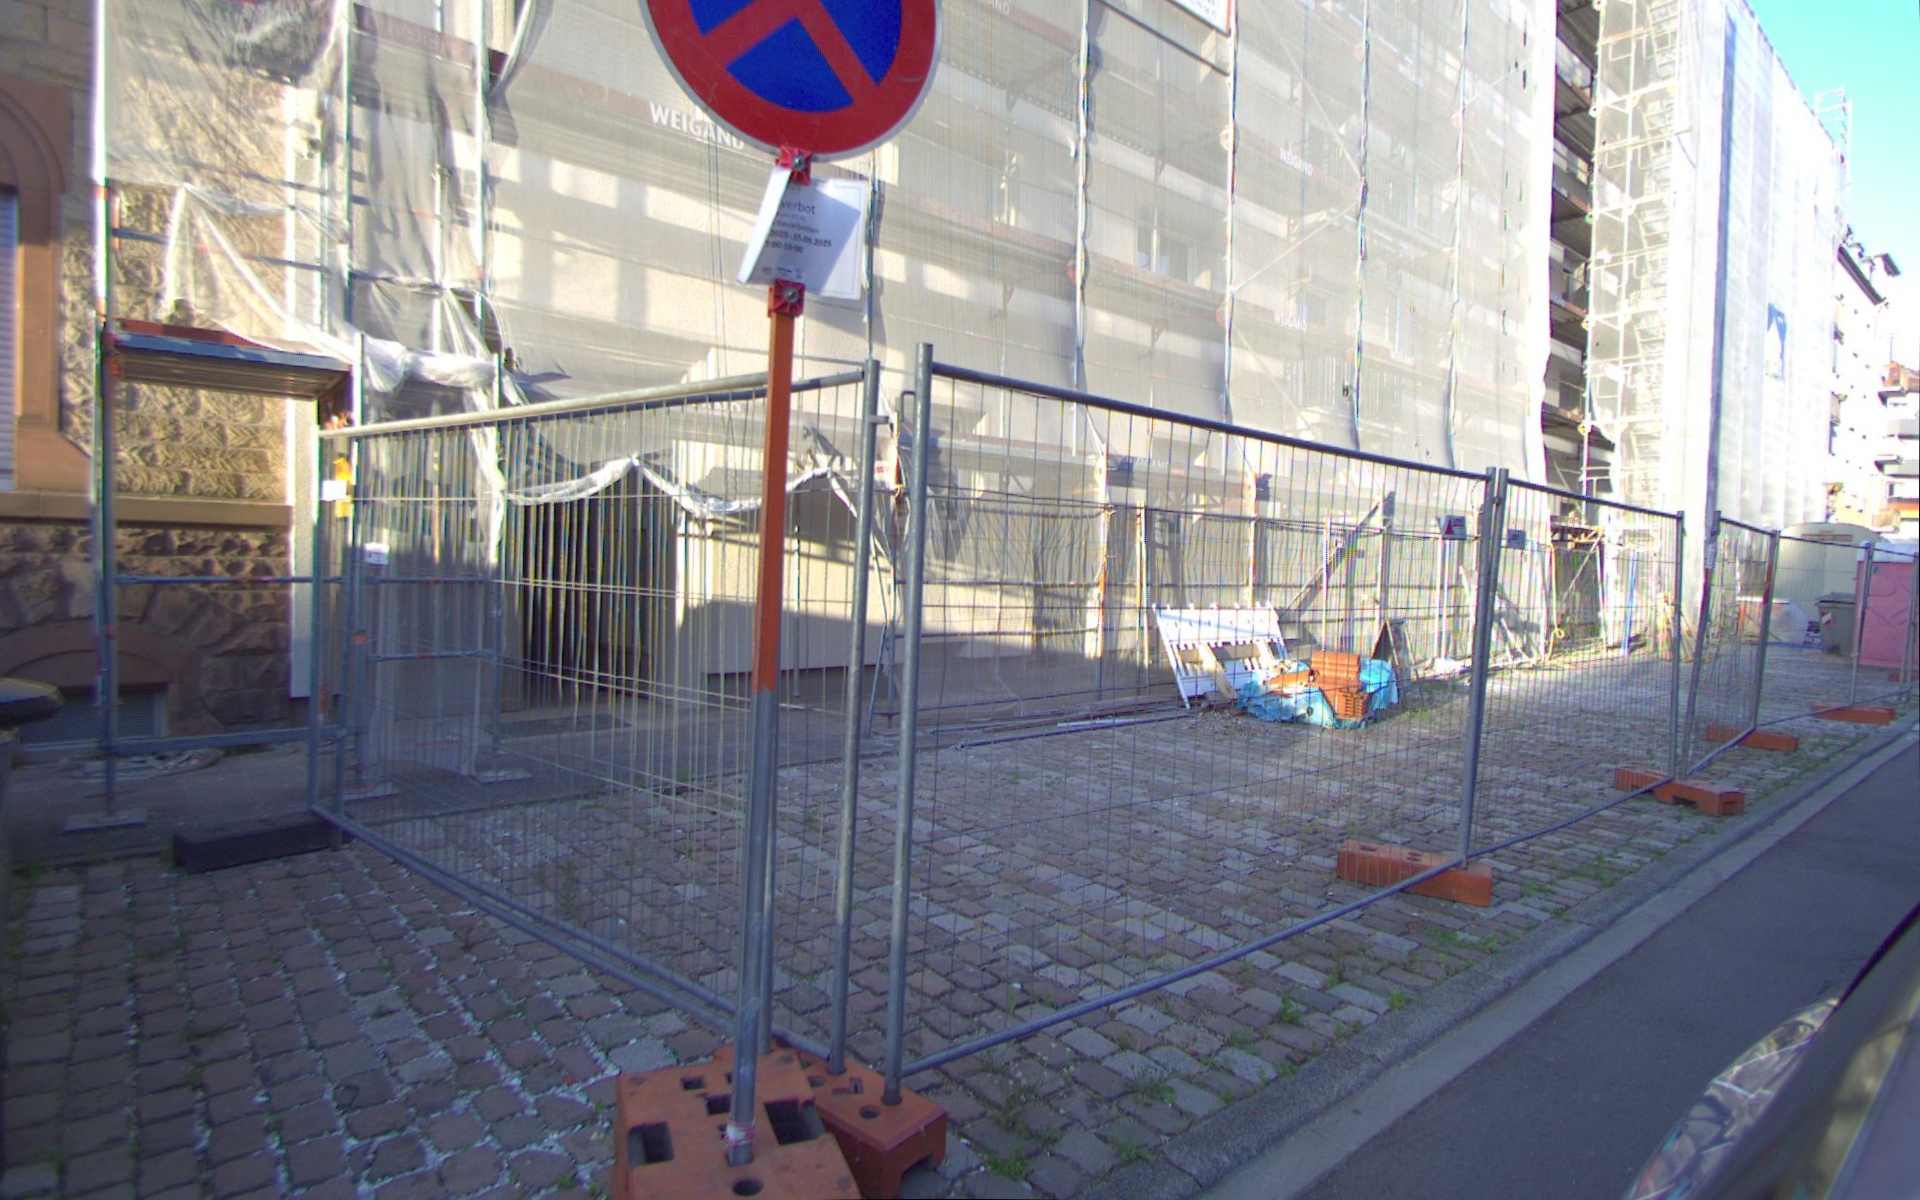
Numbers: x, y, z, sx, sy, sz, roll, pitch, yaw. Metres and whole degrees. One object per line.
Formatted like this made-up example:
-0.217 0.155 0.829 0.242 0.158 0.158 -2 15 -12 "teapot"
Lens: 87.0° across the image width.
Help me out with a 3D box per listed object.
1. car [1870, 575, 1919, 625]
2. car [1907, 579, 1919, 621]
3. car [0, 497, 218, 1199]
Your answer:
33.119 0.044 33.533 1.838 1.635 4.164 0 2 -38 "car"
40.383 0.049 40.152 1.871 1.658 3.992 0 2 -43 "car"
-3.467 0.473 2.608 1.987 1.533 3.992 -1 5 -44 "car"
